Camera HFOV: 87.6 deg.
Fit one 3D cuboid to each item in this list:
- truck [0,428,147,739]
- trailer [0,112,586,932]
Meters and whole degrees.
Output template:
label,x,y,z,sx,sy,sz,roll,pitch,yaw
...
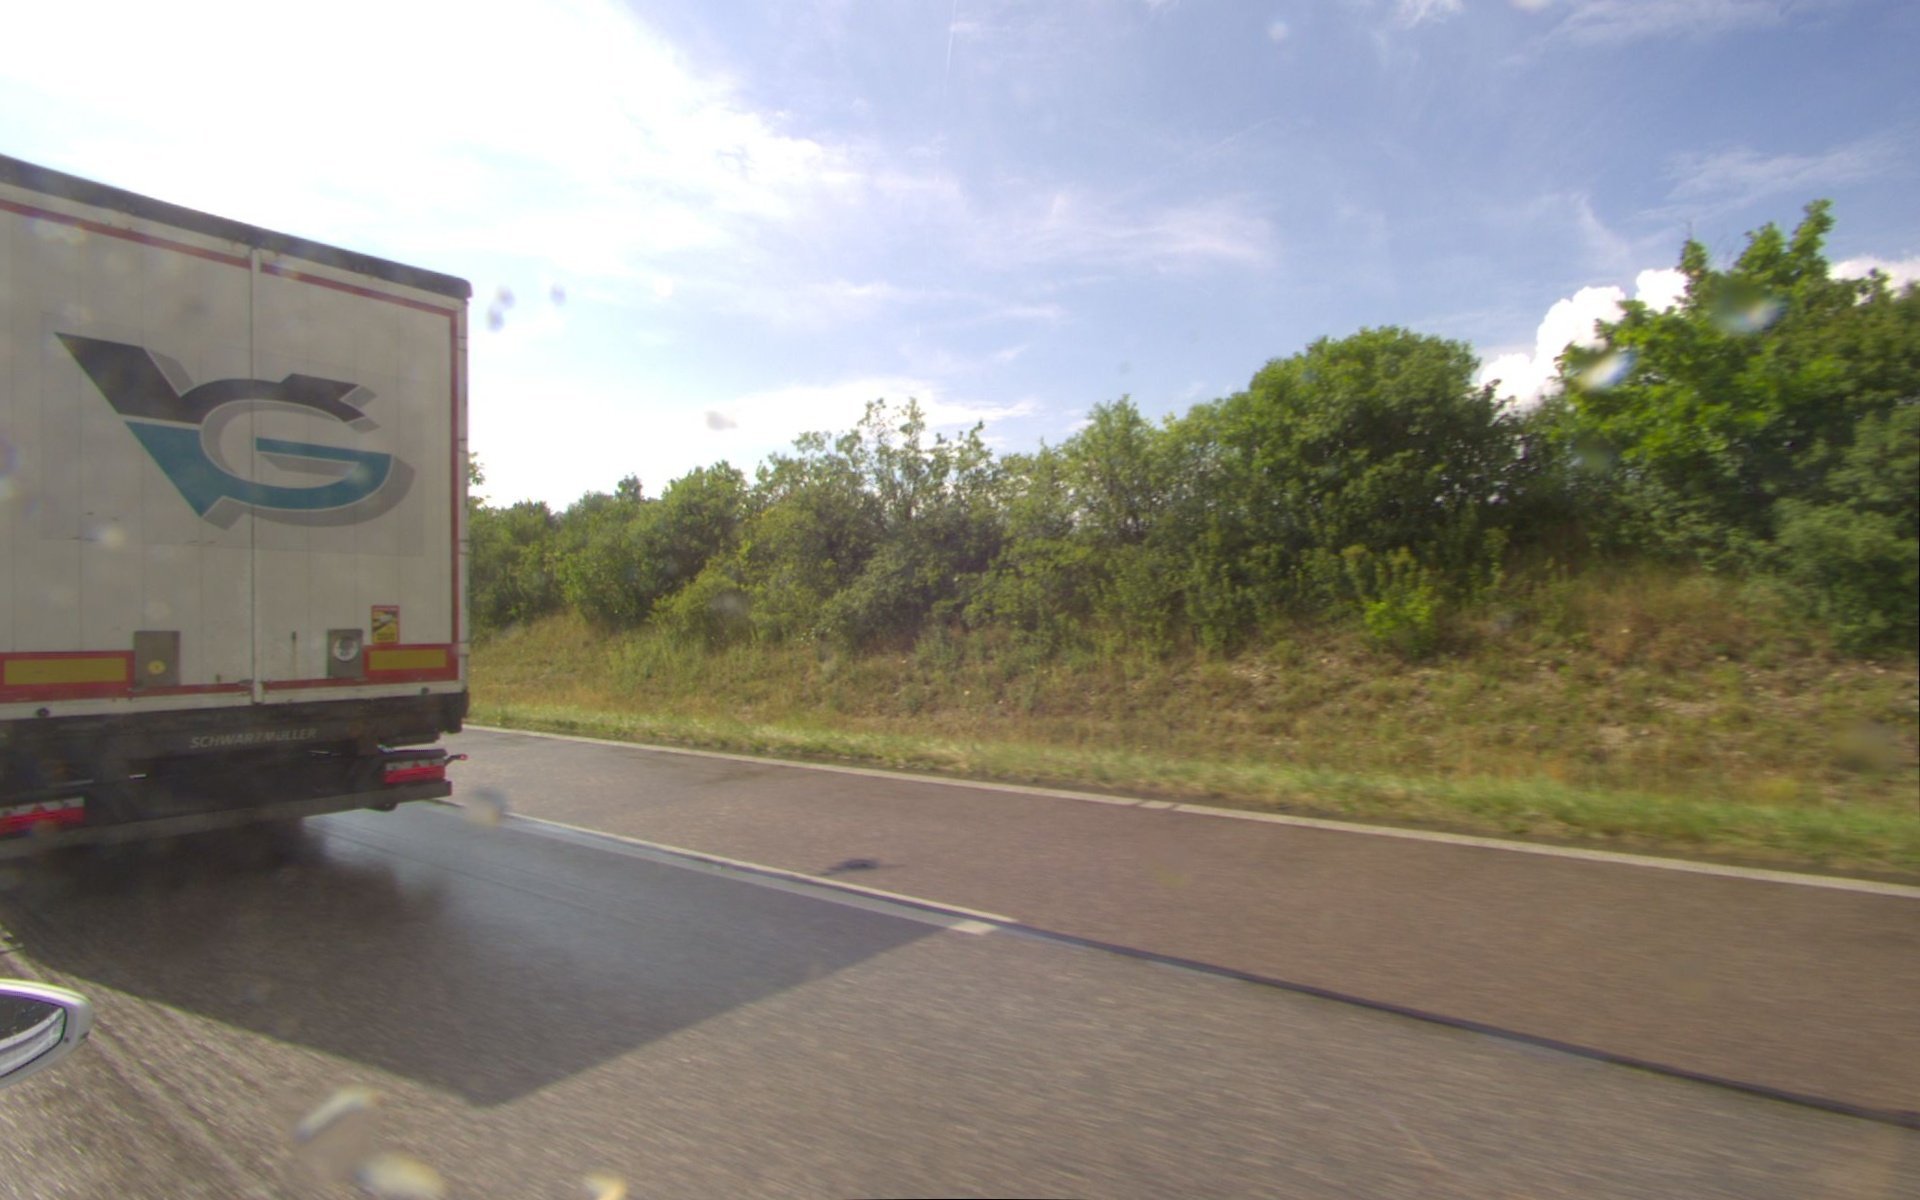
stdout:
label,x,y,z,sx,sy,sz,roll,pitch,yaw
truck,-14.766,-0.137,14.482,6.316,3.940,3.273,-2,-2,38
trailer,-9.239,-0.161,10.284,13.952,3.948,3.273,-2,-3,38
